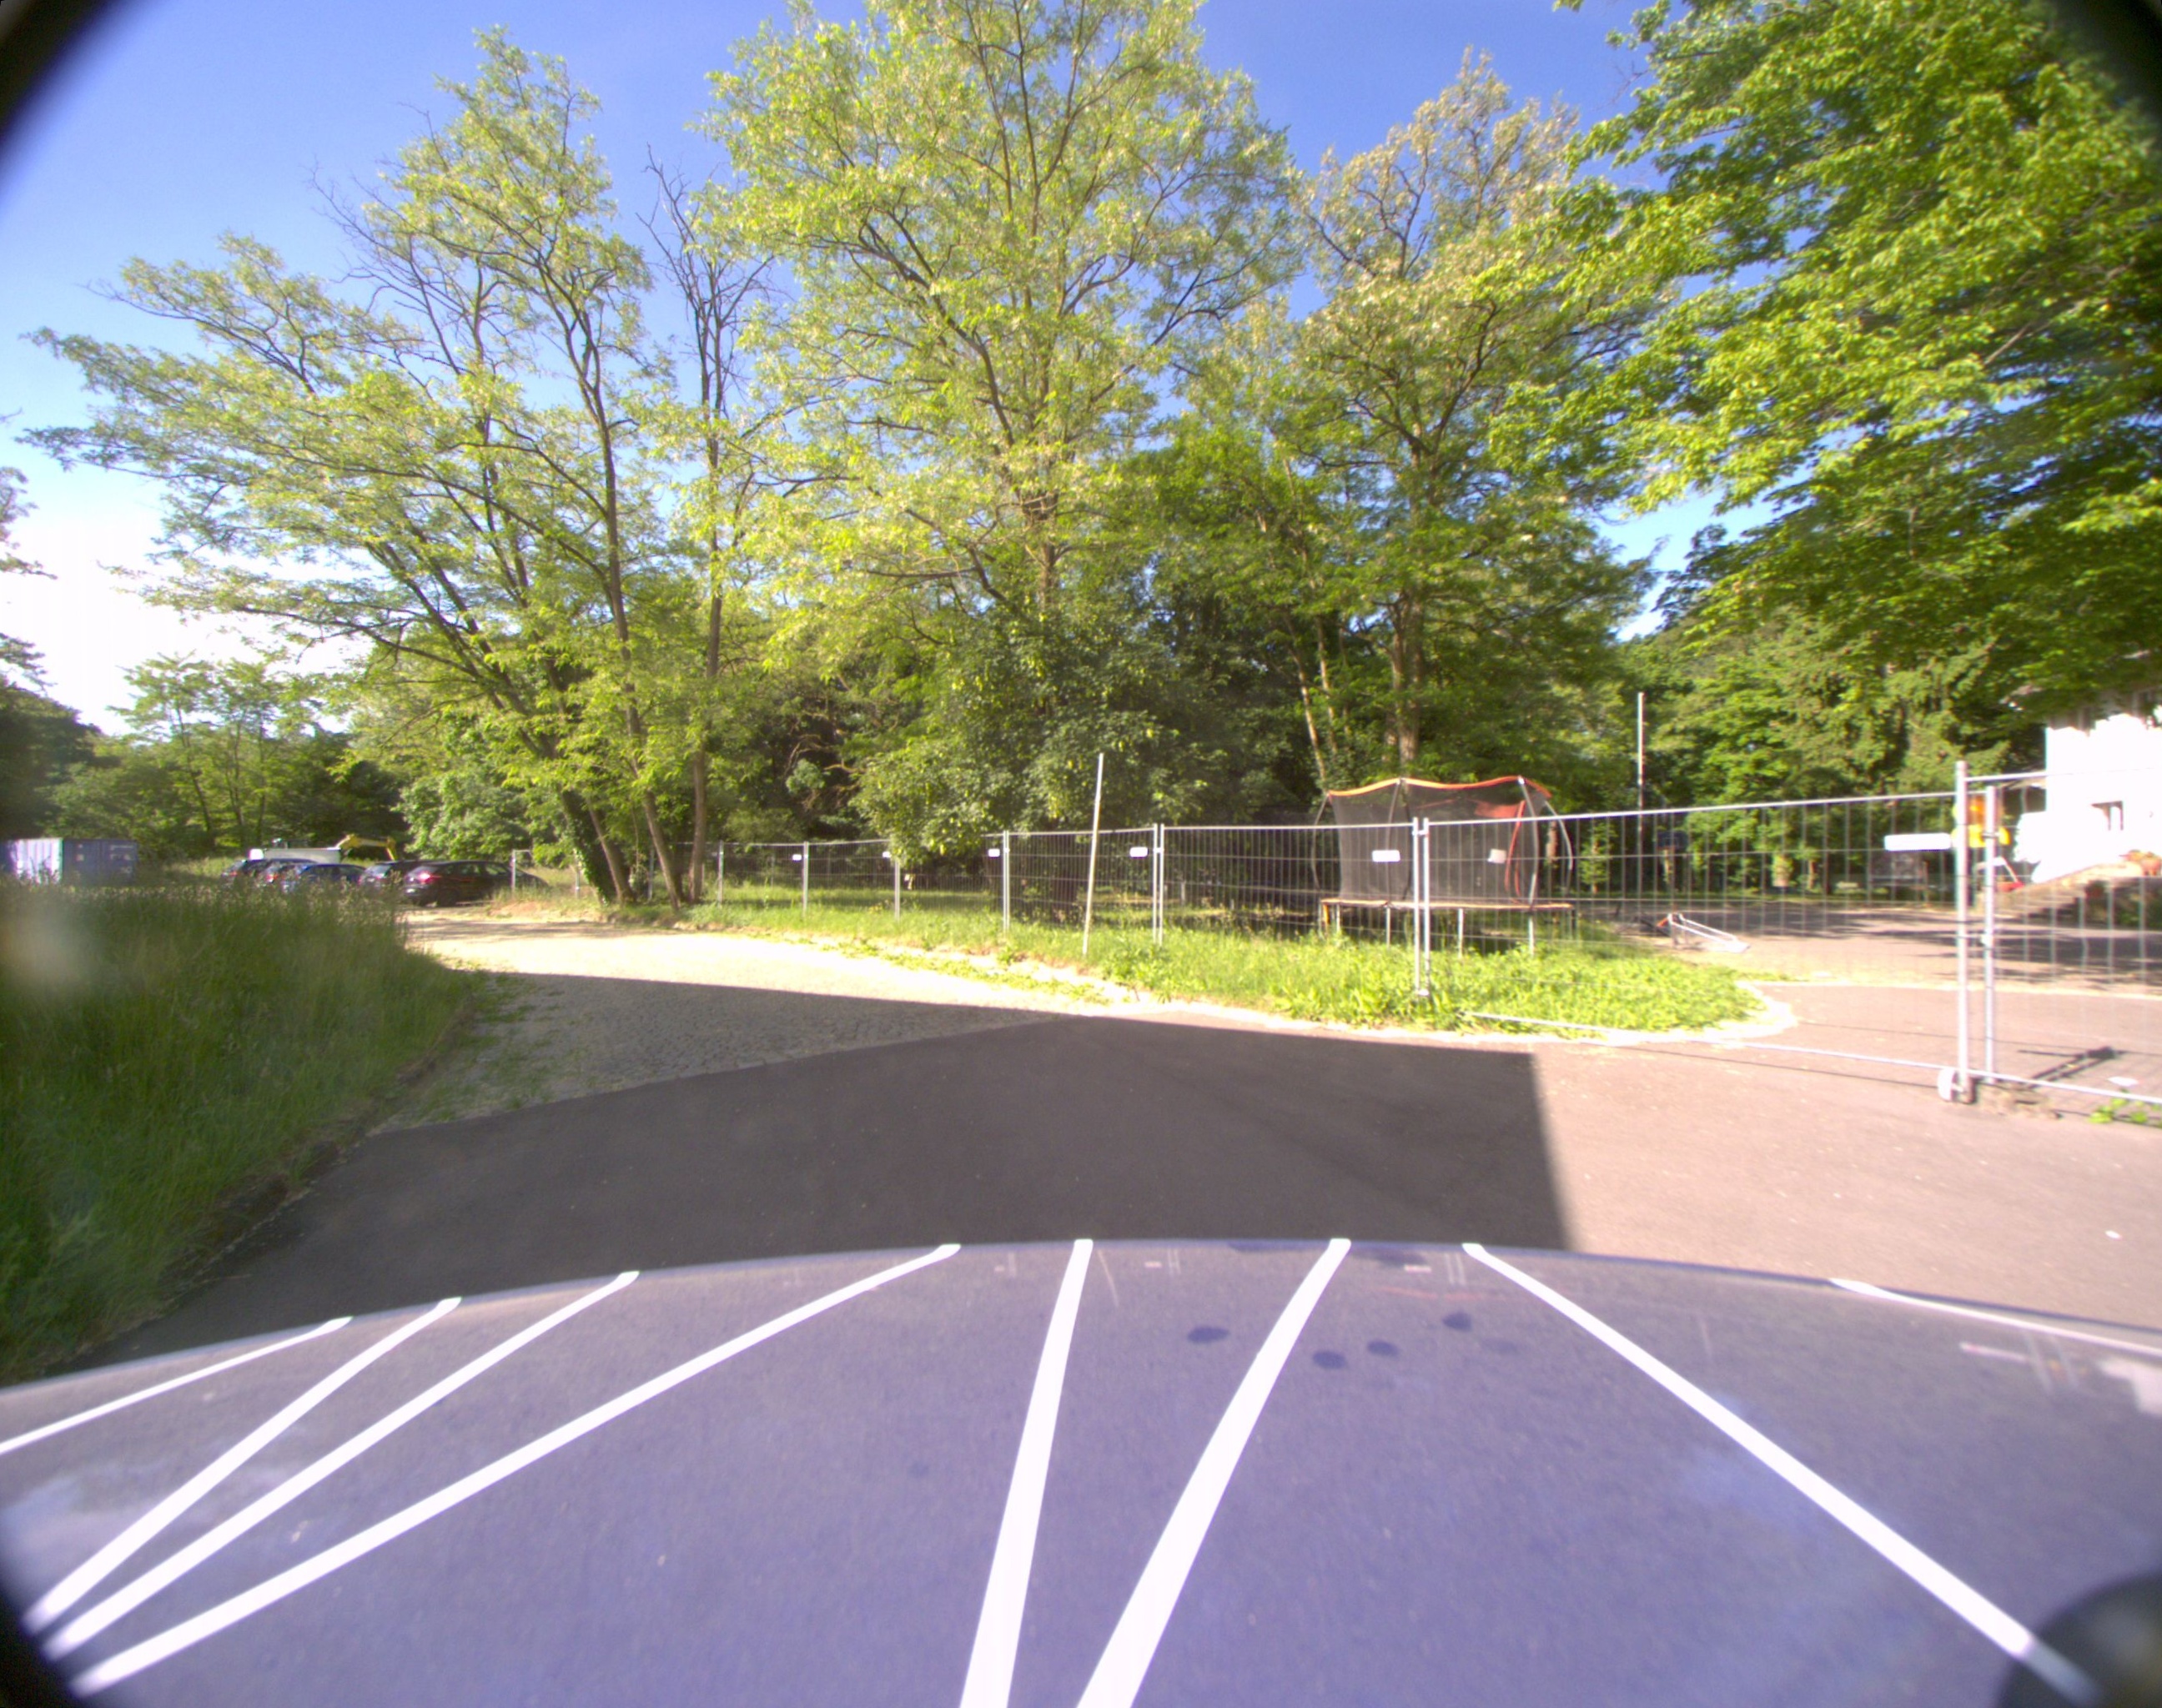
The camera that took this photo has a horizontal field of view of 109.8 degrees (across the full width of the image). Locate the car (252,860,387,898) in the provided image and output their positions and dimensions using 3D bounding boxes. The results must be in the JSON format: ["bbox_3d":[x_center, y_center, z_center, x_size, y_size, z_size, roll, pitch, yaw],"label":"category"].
[{"bbox_3d":[-32.544,1.012,32.564,1.829,1.443,3.670,0,1,28],"label":"car"}]

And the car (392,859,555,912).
[{"bbox_3d":[-22.273,1.081,28.088,1.789,1.643,4.306,0,2,23],"label":"car"}]

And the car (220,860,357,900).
[{"bbox_3d":[-34.812,1.082,33.478,1.863,1.631,3.828,0,0,30],"label":"car"}]

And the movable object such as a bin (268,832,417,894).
[{"bbox_3d":[-37.759,0.469,39.005,1.994,2.948,5.176,0,0,32],"label":"movable object such as a bin"}]

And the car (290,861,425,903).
[{"bbox_3d":[-30.095,1.119,31.710,1.710,1.485,3.670,0,2,30],"label":"car"}]

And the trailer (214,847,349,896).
[{"bbox_3d":[-37.060,0.754,35.328,1.635,2.082,3.980,0,1,28],"label":"trailer"}]

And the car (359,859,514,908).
[{"bbox_3d":[-24.979,1.078,29.620,1.813,1.647,4.197,0,1,27],"label":"car"}]
